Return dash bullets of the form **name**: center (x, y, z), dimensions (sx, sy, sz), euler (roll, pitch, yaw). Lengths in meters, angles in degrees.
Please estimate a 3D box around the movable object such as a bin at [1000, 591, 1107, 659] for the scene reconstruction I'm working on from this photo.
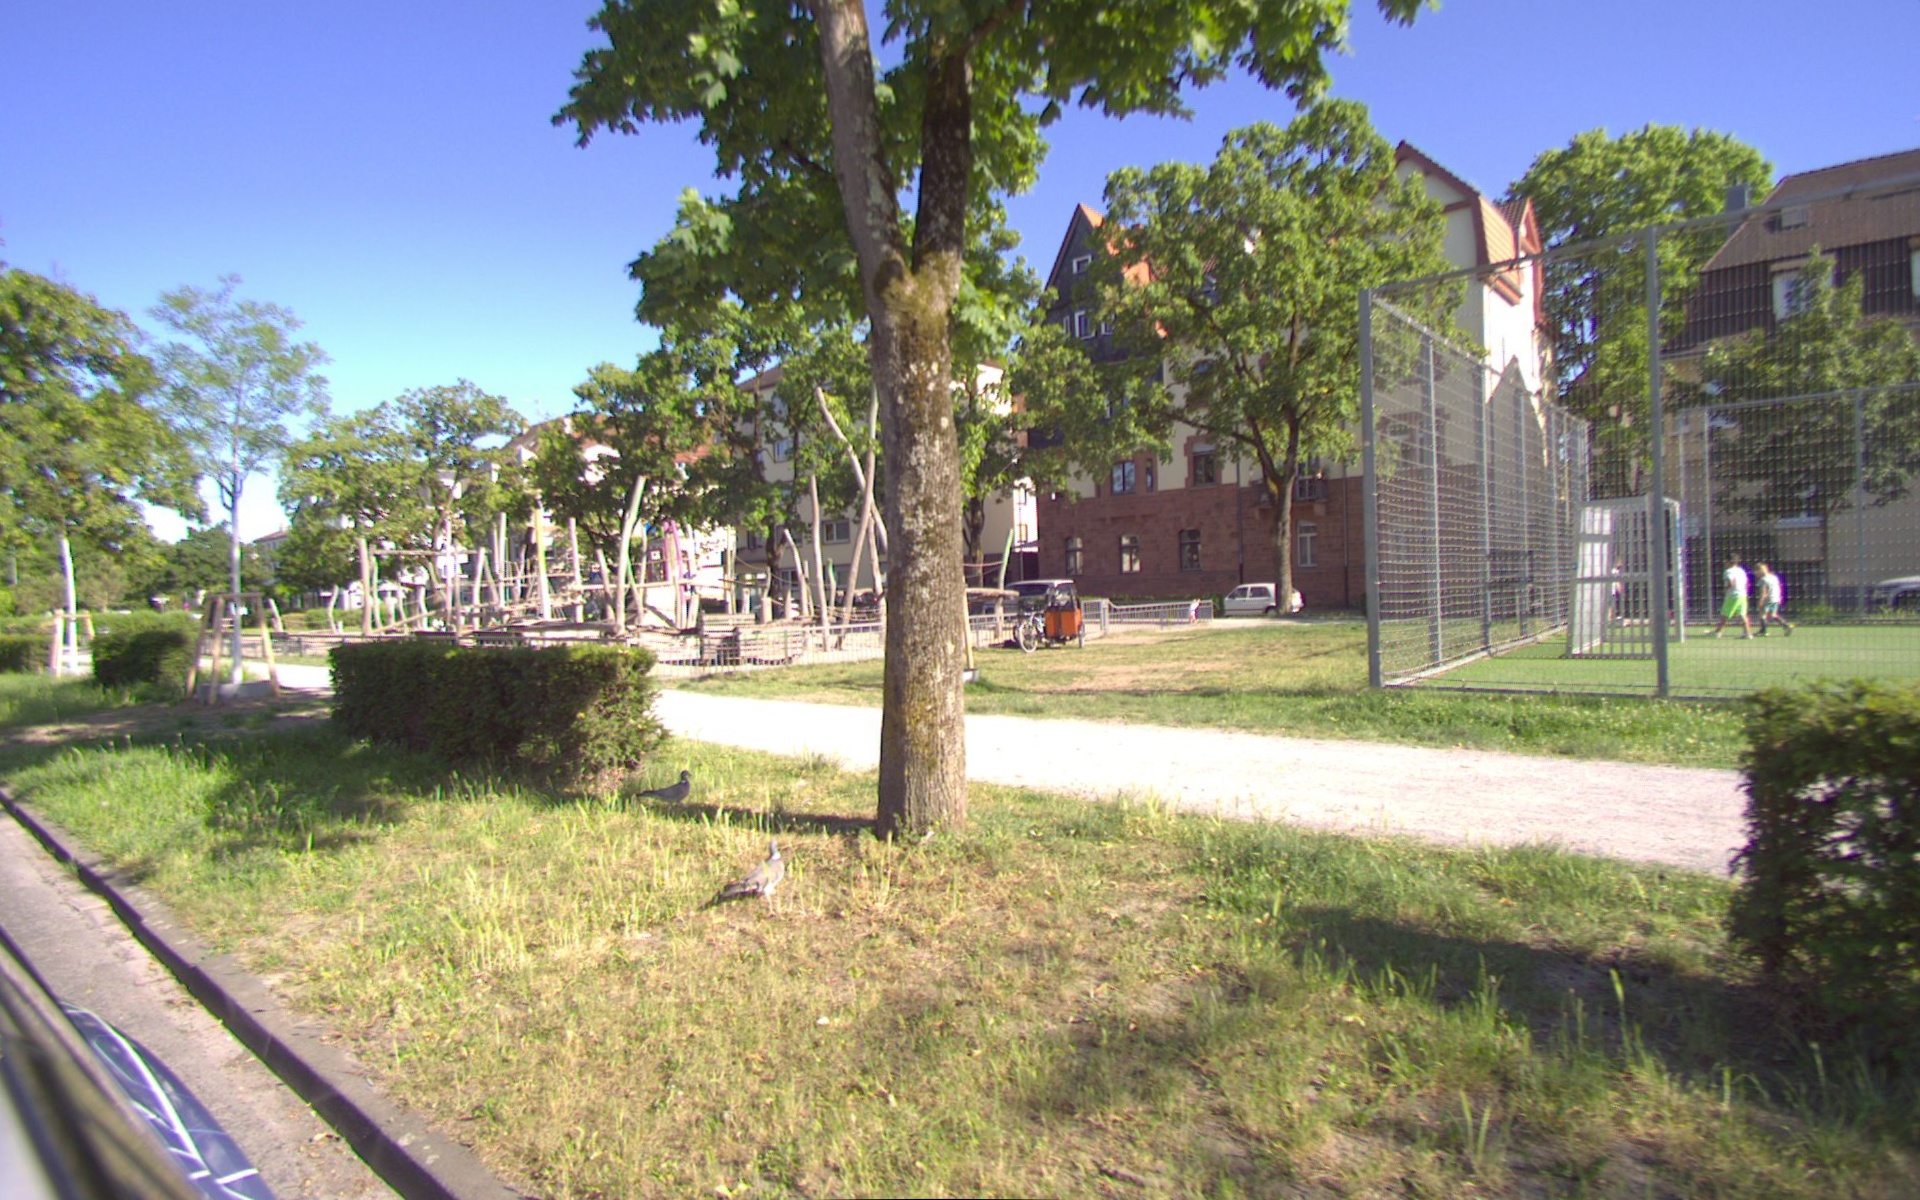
- **movable object such as a bin**: center (1.904, 0.480, 20.197), dimensions (1.054, 1.251, 2.309), euler (-2, -1, 37)

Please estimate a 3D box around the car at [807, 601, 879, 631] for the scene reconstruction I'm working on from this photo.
- **car**: center (-6.545, 0.885, 56.416), dimensions (3.998, 1.521, 1.776), euler (-2, 1, 41)

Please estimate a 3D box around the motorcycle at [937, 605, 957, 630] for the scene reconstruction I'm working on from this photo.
- **motorcycle**: center (-0.431, 0.595, 34.909), dimensions (0.284, 0.833, 0.695), euler (-2, 0, 39)

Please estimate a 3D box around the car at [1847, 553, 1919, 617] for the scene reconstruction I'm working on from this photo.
- **car**: center (27.163, -0.470, 27.005), dimensions (5.180, 1.664, 1.862), euler (-2, 1, 41)

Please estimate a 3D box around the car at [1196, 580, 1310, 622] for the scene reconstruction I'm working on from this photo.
- **car**: center (11.728, 0.050, 40.698), dimensions (3.998, 1.521, 1.776), euler (-2, 1, 41)

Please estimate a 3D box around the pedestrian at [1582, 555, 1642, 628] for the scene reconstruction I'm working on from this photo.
- **pedestrian**: center (12.207, -0.162, 18.954), dimensions (0.639, 1.328, 0.652), euler (-3, 0, -20)

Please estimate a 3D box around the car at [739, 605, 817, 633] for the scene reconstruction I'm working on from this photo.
- **car**: center (-10.811, 1.134, 59.927), dimensions (4.760, 1.521, 1.887), euler (-2, 1, 40)

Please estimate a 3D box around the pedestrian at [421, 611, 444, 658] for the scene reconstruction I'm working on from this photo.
- **pedestrian**: center (-19.529, 1.264, 37.482), dimensions (0.639, 1.674, 0.652), euler (-3, 0, -31)

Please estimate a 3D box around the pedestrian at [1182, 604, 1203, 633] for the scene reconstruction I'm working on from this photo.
- **pedestrian**: center (6.723, 0.533, 29.275), dimensions (0.359, 0.810, 0.478), euler (-2, 0, 42)

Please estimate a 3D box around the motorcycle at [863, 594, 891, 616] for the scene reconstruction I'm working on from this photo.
- **motorcycle**: center (-4.443, 0.254, 54.312), dimensions (0.498, 1.116, 1.780), euler (-2, 1, 33)

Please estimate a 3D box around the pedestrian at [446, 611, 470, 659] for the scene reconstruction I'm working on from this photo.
- **pedestrian**: center (-18.176, 1.249, 36.642), dimensions (0.639, 1.674, 0.652), euler (-3, 0, -31)

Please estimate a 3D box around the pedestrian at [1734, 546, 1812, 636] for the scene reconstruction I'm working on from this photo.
- **pedestrian**: center (12.465, -0.135, 15.526), dimensions (0.639, 1.328, 0.652), euler (-3, 0, -20)

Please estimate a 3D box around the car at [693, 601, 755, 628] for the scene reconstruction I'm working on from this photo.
- **car**: center (-14.826, 0.902, 63.470), dimensions (3.997, 1.566, 1.776), euler (-2, 1, 41)

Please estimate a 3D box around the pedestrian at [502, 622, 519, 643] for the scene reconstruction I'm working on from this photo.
- **pedestrian**: center (-22.263, 1.607, 50.150), dimensions (0.535, 0.986, 0.779), euler (-3, 0, -42)

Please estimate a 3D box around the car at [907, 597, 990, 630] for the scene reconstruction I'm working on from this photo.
- **car**: center (-0.598, 0.710, 50.969), dimensions (3.998, 1.521, 1.776), euler (-2, 1, 41)

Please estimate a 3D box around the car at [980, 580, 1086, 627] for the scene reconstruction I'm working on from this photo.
- **car**: center (3.387, 0.176, 47.508), dimensions (4.833, 1.997, 1.776), euler (-2, 1, 41)

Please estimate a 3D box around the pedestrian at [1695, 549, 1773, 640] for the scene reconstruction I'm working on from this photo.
- **pedestrian**: center (11.722, -0.085, 15.338), dimensions (0.639, 1.328, 0.652), euler (-3, 0, -20)

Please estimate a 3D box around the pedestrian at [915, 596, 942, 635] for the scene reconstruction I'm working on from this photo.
- **pedestrian**: center (-1.106, 0.543, 35.265), dimensions (0.649, 1.328, 0.642), euler (-2, 0, 38)

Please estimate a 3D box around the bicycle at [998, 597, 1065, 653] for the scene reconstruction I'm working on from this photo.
- **bicycle**: center (1.585, 0.530, 22.086), dimensions (0.499, 1.116, 1.777), euler (-2, 0, 39)
